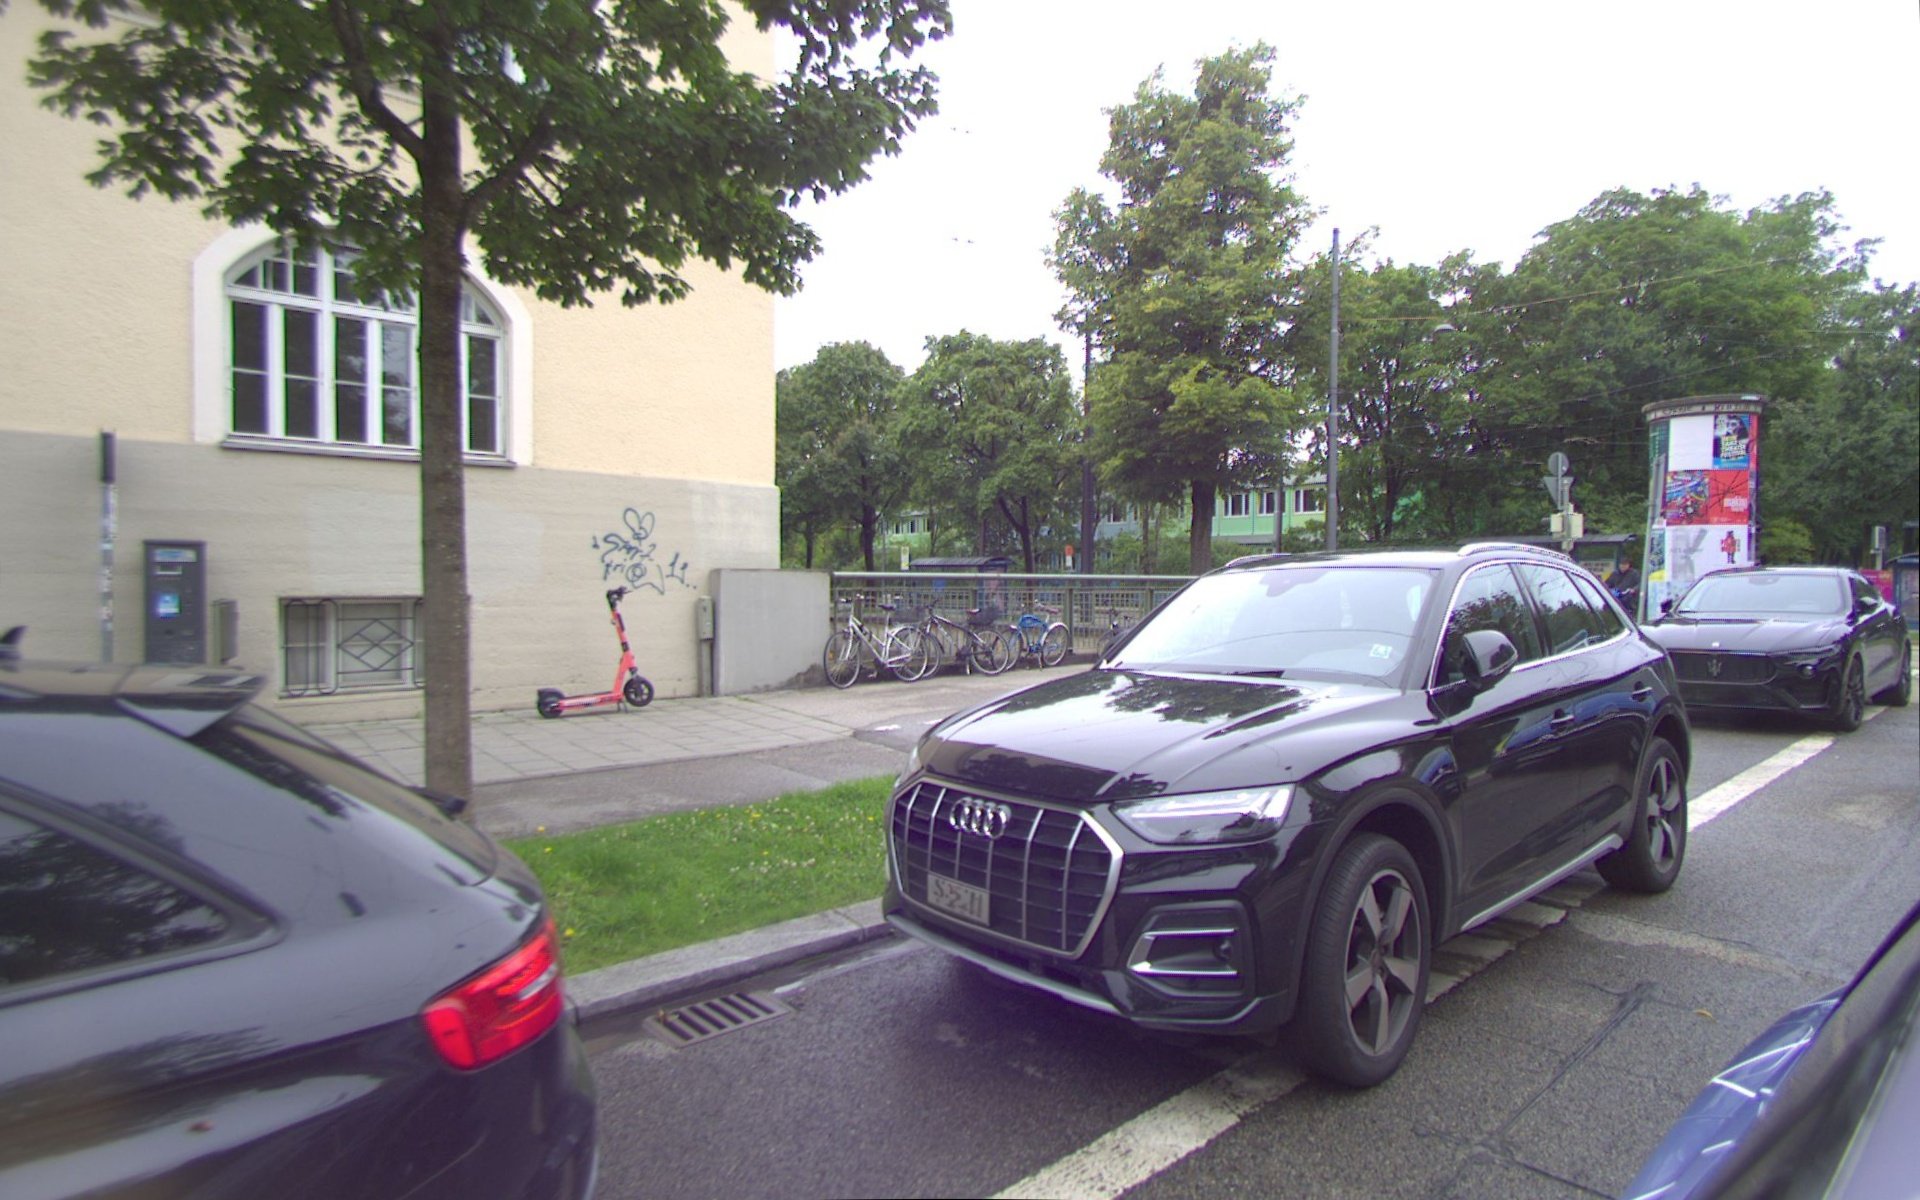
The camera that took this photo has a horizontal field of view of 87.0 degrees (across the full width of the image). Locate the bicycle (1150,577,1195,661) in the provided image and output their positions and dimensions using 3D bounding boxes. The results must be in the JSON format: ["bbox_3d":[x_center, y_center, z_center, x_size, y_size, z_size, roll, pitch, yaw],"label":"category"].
[{"bbox_3d":[3.438,0.288,16.311,0.280,1.298,1.395,-1,0,30],"label":"bicycle"}]

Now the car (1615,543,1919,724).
[{"bbox_3d":[9.238,0.289,11.356,4.582,1.630,1.904,-1,0,-40],"label":"car"}]

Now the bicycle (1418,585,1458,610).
[{"bbox_3d":[19.257,-0.102,40.781,0.366,0.964,1.483,-1,1,-38],"label":"bicycle"}]

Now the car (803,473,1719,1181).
[{"bbox_3d":[1.675,0.493,4.511,4.408,1.679,1.778,-2,1,-40],"label":"car"}]

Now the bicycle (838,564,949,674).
[{"bbox_3d":[-0.824,0.217,12.906,1.511,1.329,0.332,-1,0,-42],"label":"bicycle"}]

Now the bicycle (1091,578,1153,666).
[{"bbox_3d":[2.511,0.318,15.585,0.281,1.298,1.391,-1,0,38],"label":"bicycle"}]

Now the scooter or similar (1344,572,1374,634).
[{"bbox_3d":[8.078,0.056,20.486,0.224,1.227,1.006,-1,0,40],"label":"scooter or similar"}]

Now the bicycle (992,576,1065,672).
[{"bbox_3d":[0.983,0.315,14.259,0.281,1.298,1.391,-1,0,38],"label":"bicycle"}]

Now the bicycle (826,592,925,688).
[{"bbox_3d":[-1.035,0.470,12.621,0.286,1.120,1.421,0,1,42],"label":"bicycle"}]

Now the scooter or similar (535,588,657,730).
[{"bbox_3d":[-3.607,0.559,10.079,1.123,1.329,0.261,-1,0,-45],"label":"scooter or similar"}]

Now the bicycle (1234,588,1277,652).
[{"bbox_3d":[5.320,0.332,18.184,0.263,1.095,1.524,-1,0,34],"label":"bicycle"}]

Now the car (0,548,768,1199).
[{"bbox_3d":[-2.580,0.702,0.844,4.522,1.444,1.718,-2,0,-41],"label":"car"}]
